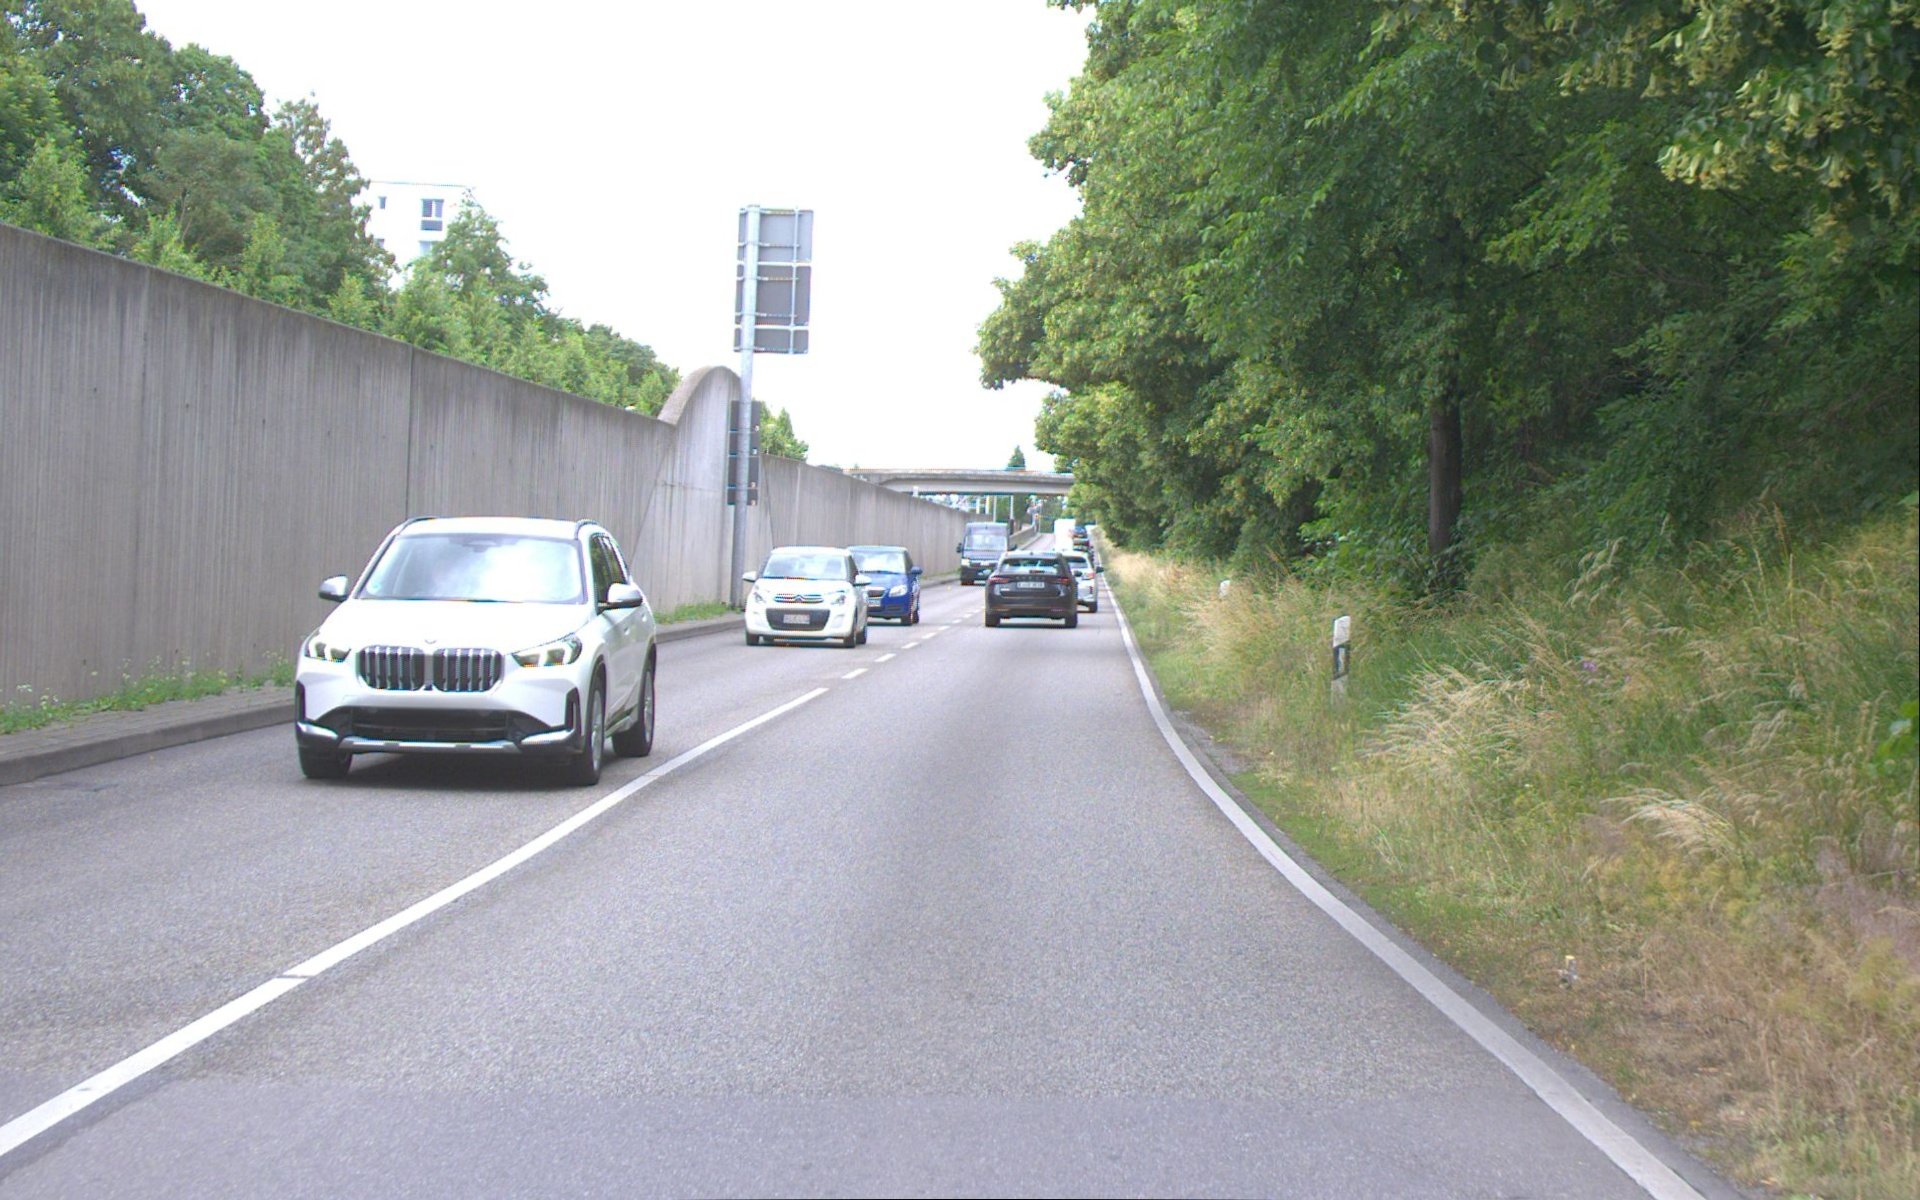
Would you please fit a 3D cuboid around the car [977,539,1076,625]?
[{"bbox_3d":[1.255,-0.322,66.700,1.754,1.518,4.036,2,-1,-1],"label":"car"}]

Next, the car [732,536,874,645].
[{"bbox_3d":[-2.311,-0.176,51.632,1.915,1.490,4.208,2,1,0],"label":"car"}]

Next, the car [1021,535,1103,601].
[{"bbox_3d":[2.471,-0.764,83.881,1.754,1.518,4.036,0,-1,-2],"label":"car"}]

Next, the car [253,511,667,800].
[{"bbox_3d":[-3.111,0.275,22.300,1.890,1.626,4.426,2,1,1],"label":"car"}]

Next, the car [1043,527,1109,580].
[{"bbox_3d":[3.619,-1.473,108.235,1.867,1.485,4.257,4,1,0],"label":"car"}]

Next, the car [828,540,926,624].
[{"bbox_3d":[-1.576,-0.376,66.556,1.767,1.490,4.208,2,1,0],"label":"car"}]

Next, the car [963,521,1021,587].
[{"bbox_3d":[1.361,-1.937,142.780,2.110,2.621,7.417,1,1,2],"label":"car"}]
